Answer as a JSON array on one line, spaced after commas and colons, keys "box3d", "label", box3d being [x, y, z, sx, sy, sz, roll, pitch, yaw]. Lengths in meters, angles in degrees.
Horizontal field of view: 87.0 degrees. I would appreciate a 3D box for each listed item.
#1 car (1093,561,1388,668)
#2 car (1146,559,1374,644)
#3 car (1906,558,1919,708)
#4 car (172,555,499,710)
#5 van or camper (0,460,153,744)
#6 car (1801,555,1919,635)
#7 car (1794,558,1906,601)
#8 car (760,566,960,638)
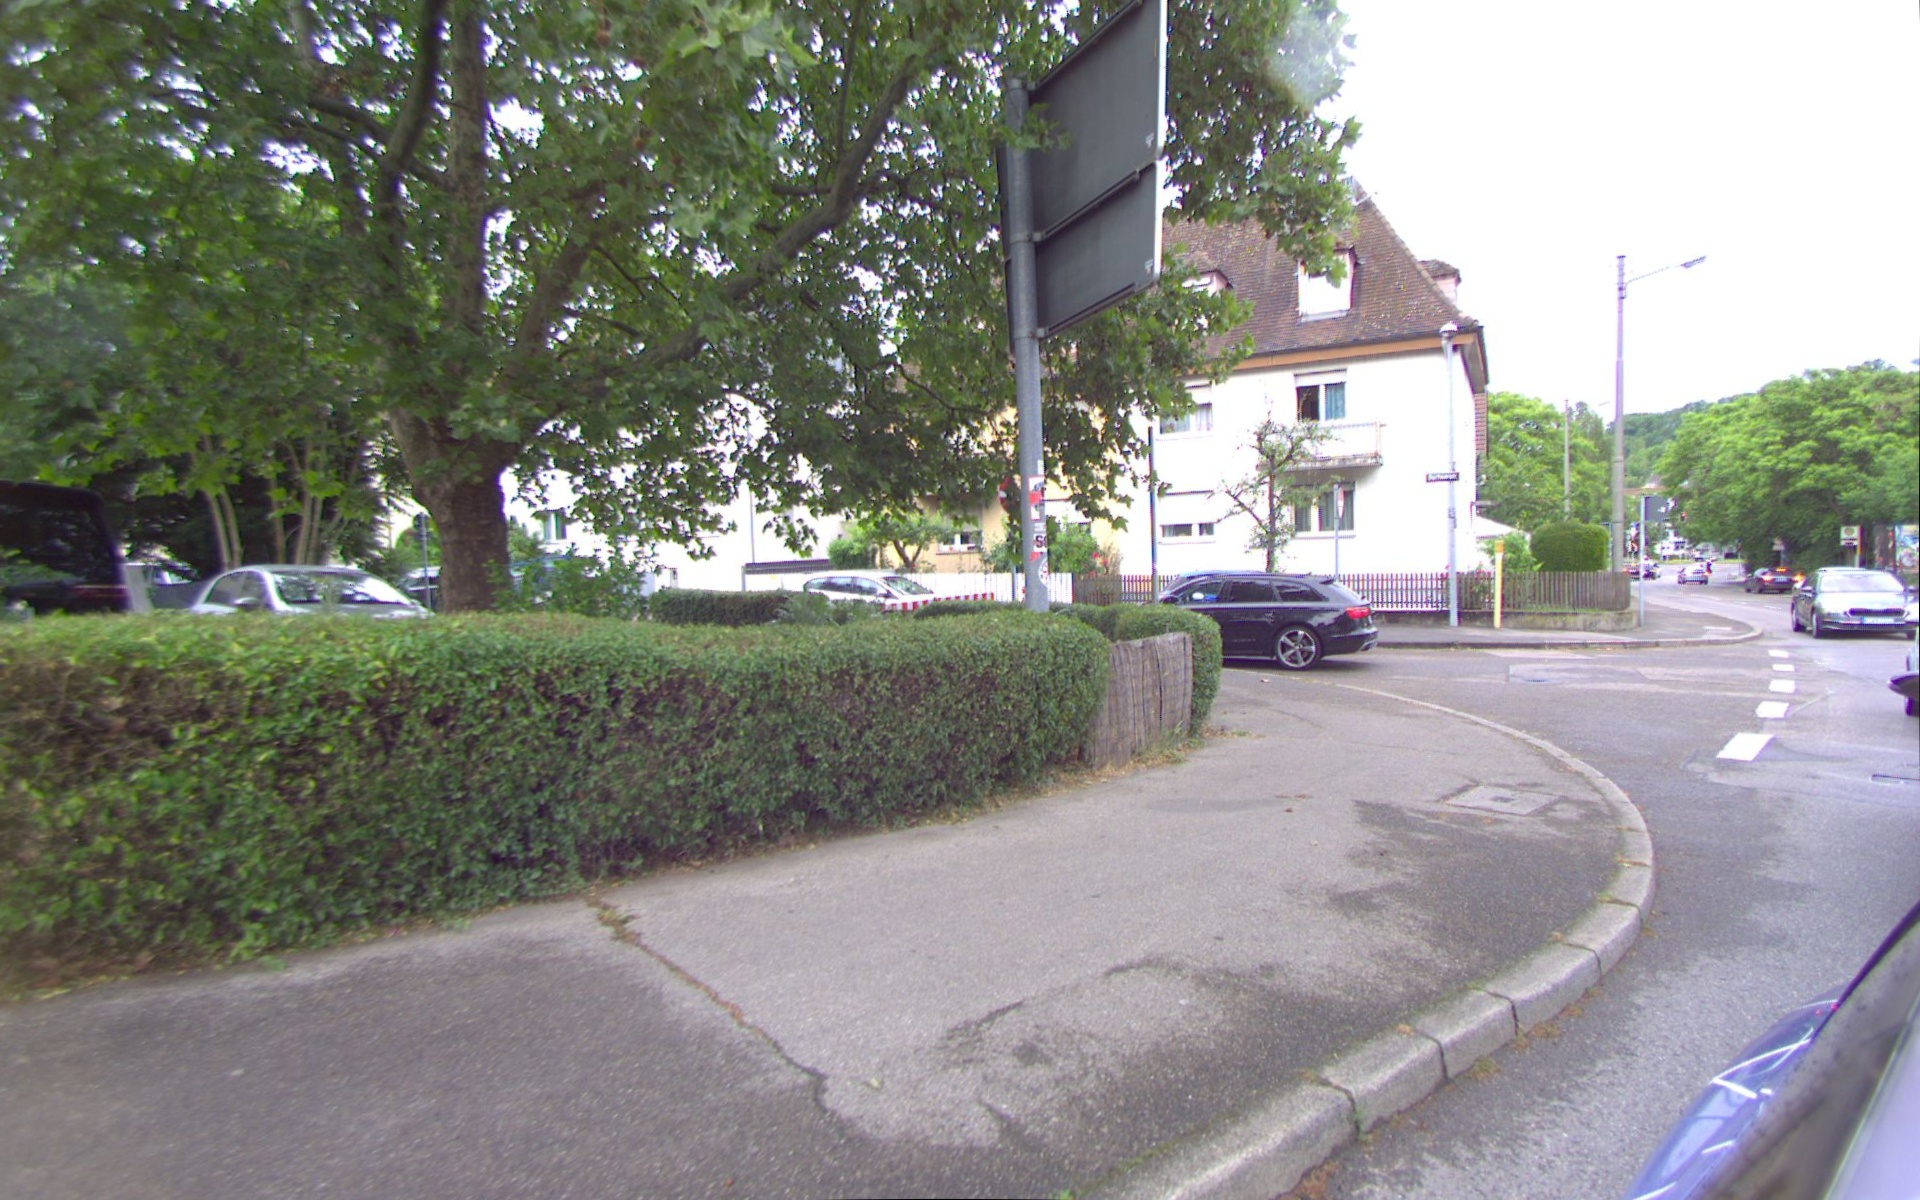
[{"box3d": [4.557, 0.175, 16.482, 4.350, 1.532, 1.982, 0, 1, 27], "label": "car"}, {"box3d": [5.741, -0.038, 19.379, 3.960, 1.482, 1.845, 1, 2, 26], "label": "car"}, {"box3d": [10.612, 0.362, 9.971, 1.638, 1.577, 3.577, 0, 1, 39], "label": "car"}, {"box3d": [-7.272, 0.271, 11.667, 3.979, 1.482, 1.973, 1, 1, 38], "label": "car"}, {"box3d": [-8.470, 0.006, 7.775, 4.286, 1.927, 1.982, 0, 1, 27], "label": "van or camper"}, {"box3d": [19.699, -0.147, 22.051, 1.697, 1.577, 3.952, 0, 1, 34], "label": "car"}, {"box3d": [35.036, -0.813, 40.024, 1.823, 1.577, 5.527, 0, 1, 25], "label": "car"}, {"box3d": [-2.362, 0.012, 23.628, 4.356, 1.532, 1.979, 0, 1, 30], "label": "car"}]
